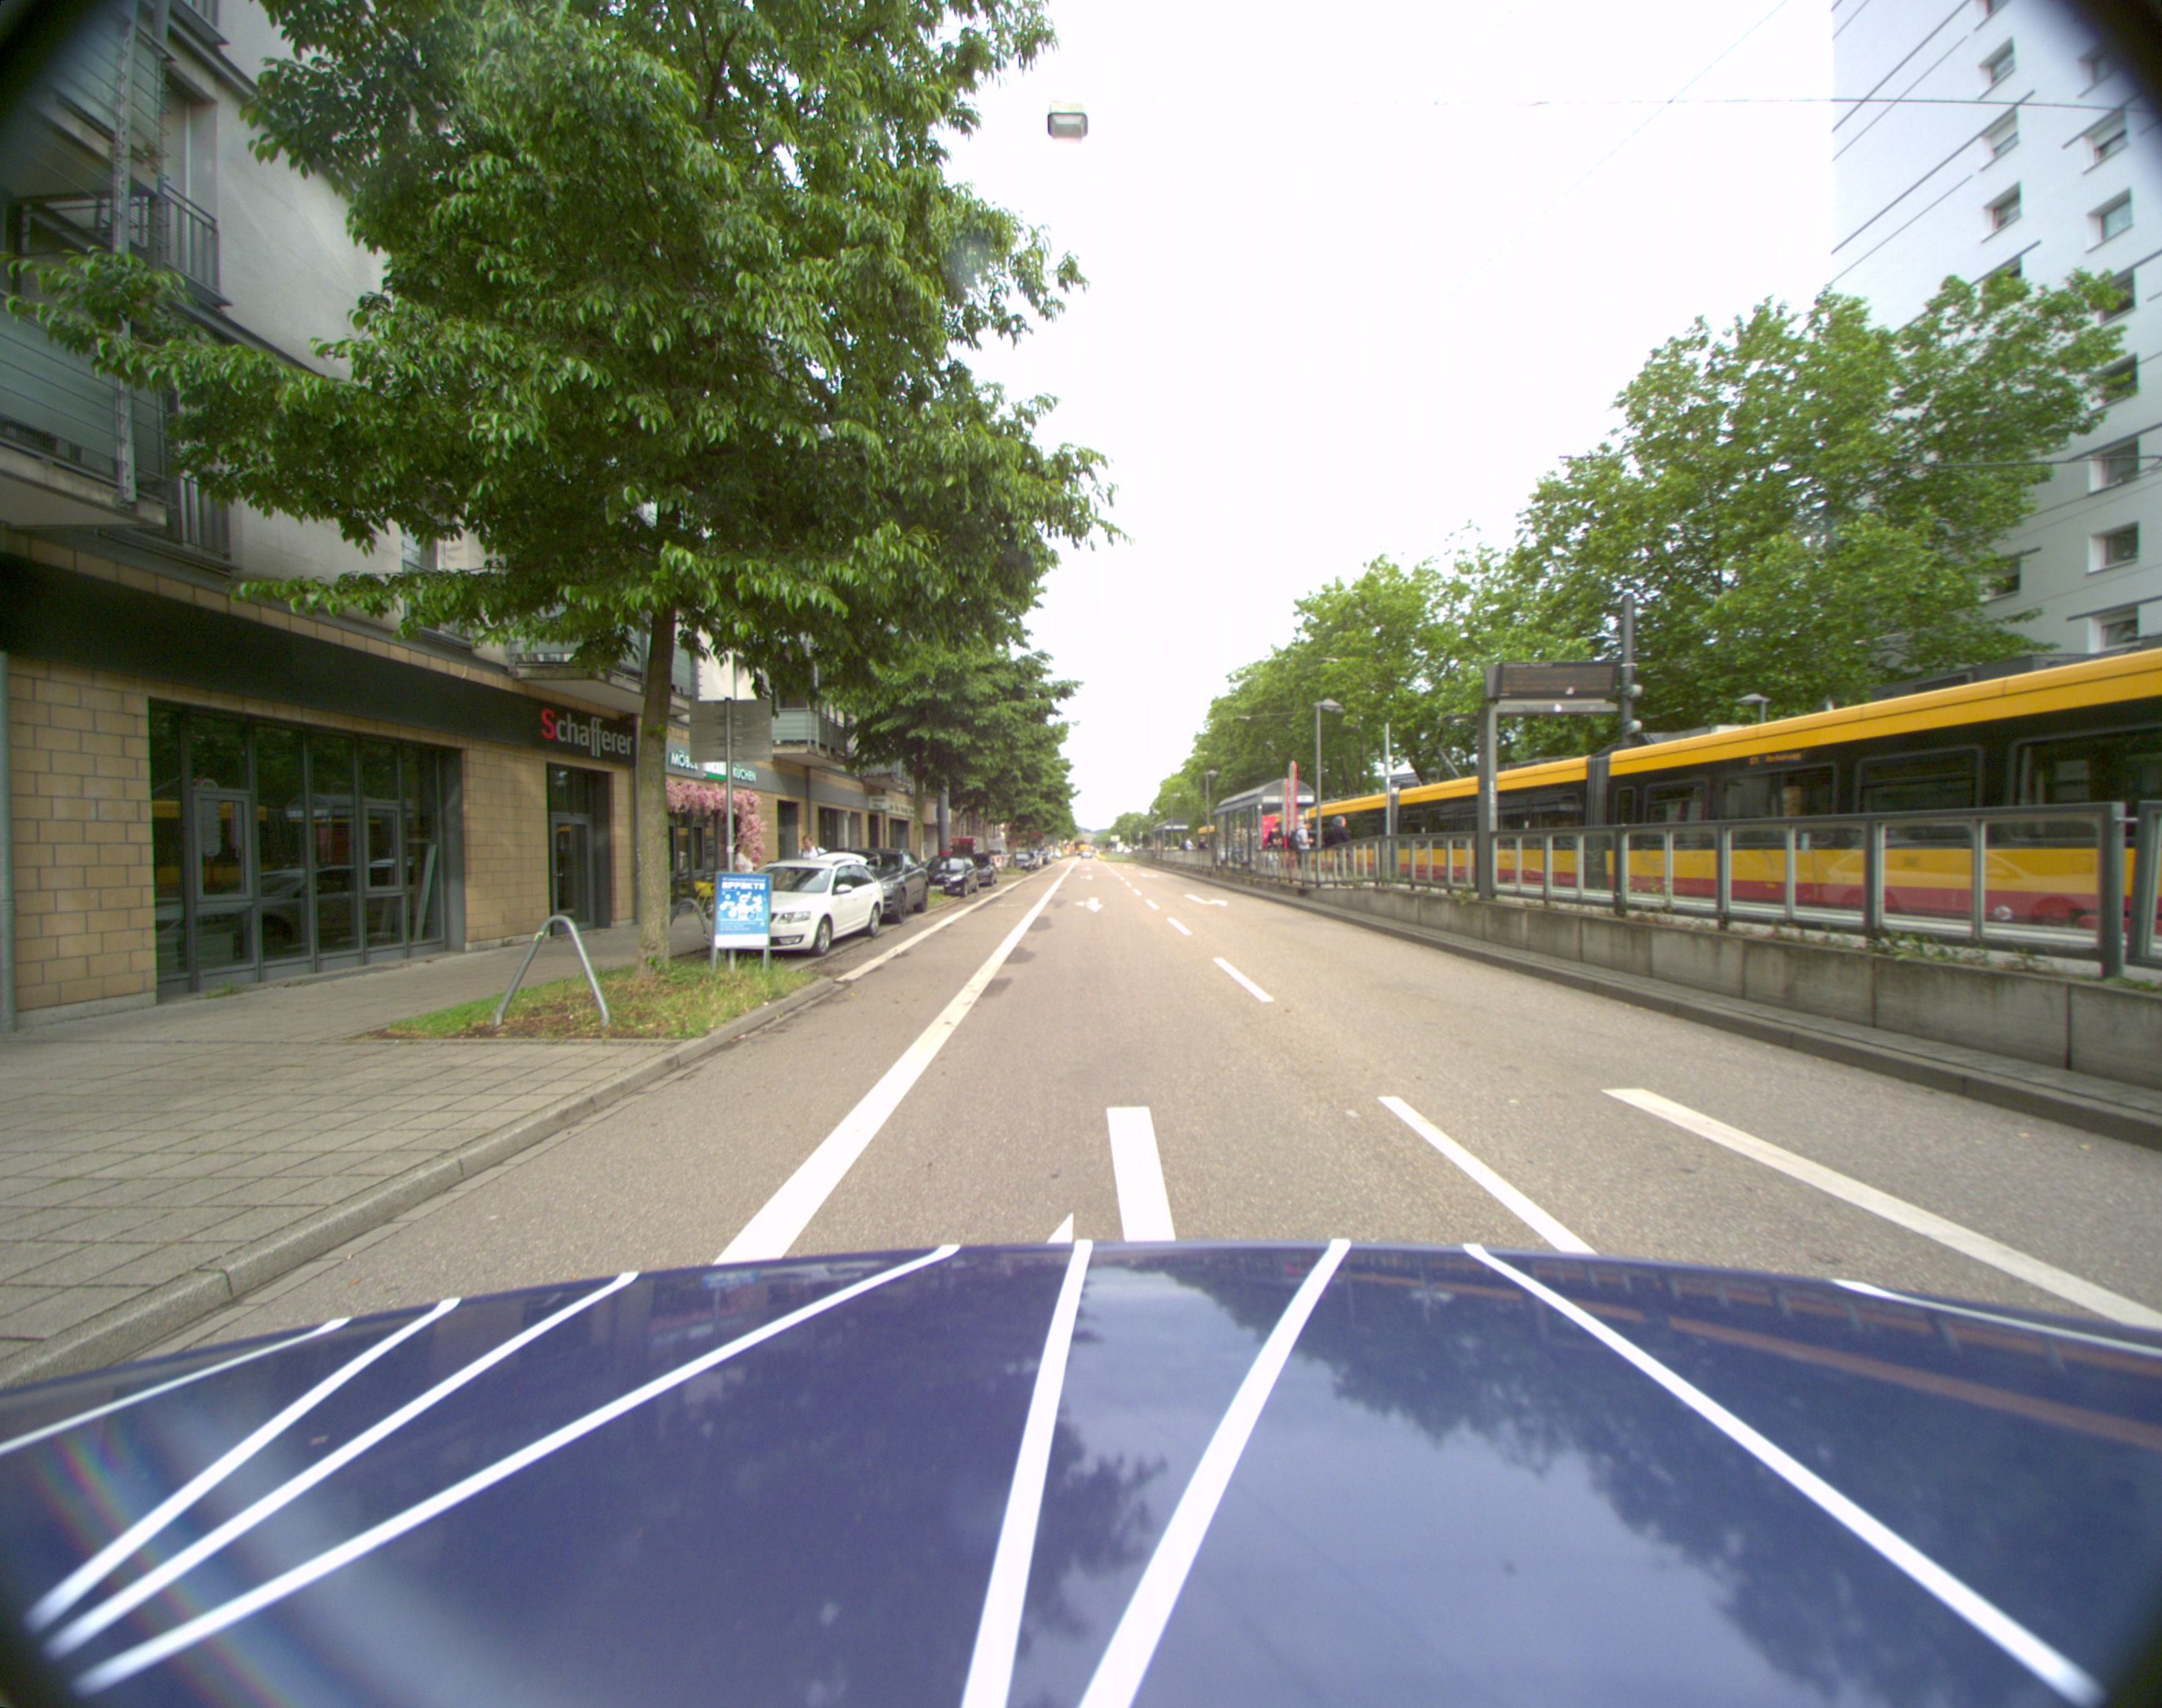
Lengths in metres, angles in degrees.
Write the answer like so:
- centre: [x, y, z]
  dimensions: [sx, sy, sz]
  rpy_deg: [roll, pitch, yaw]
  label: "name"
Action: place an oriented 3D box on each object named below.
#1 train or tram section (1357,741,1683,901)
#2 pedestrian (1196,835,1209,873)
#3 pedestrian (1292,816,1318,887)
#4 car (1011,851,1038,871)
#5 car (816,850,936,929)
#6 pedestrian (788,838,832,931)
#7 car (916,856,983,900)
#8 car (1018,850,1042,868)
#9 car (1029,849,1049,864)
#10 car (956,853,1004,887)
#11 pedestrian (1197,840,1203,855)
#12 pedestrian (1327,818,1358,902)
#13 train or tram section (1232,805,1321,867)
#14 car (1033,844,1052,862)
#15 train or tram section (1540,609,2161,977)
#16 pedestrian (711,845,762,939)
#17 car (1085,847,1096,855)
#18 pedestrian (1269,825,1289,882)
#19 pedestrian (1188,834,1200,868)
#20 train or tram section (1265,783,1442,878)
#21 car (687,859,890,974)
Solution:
- centre: [12.831, -0.865, 24.536]
  dimensions: [3.338, 3.731, 12.547]
  rpy_deg: [-2, 1, 1]
  label: "train or tram section"
- centre: [5.847, 0.006, 36.533]
  dimensions: [0.530, 1.794, 0.606]
  rpy_deg: [-2, 1, 14]
  label: "pedestrian"
- centre: [5.754, -0.059, 19.557]
  dimensions: [0.475, 1.794, 0.605]
  rpy_deg: [-2, 1, 5]
  label: "pedestrian"
- centre: [-4.163, 0.488, 56.296]
  dimensions: [1.612, 1.393, 3.667]
  rpy_deg: [2, 1, 1]
  label: "car"
- centre: [-4.716, 0.747, 18.013]
  dimensions: [1.738, 1.601, 3.798]
  rpy_deg: [2, 1, 1]
  label: "car"
- centre: [-5.556, 0.612, 15.605]
  dimensions: [0.656, 1.873, 0.599]
  rpy_deg: [-1, 1, 1]
  label: "pedestrian"
- centre: [-4.637, 0.800, 27.286]
  dimensions: [1.612, 1.369, 4.167]
  rpy_deg: [2, 1, 1]
  label: "car"
- centre: [-4.124, 0.374, 62.174]
  dimensions: [1.612, 1.393, 3.667]
  rpy_deg: [2, 1, 1]
  label: "car"
- centre: [-3.969, 0.220, 72.461]
  dimensions: [1.612, 1.393, 3.667]
  rpy_deg: [2, 1, 1]
  label: "car"
- centre: [-4.557, 0.691, 34.747]
  dimensions: [1.612, 1.393, 3.667]
  rpy_deg: [2, 1, 1]
  label: "car"
- centre: [15.873, -0.836, 101.297]
  dimensions: [0.719, 2.002, 0.756]
  rpy_deg: [-1, 1, 1]
  label: "pedestrian"
- centre: [5.705, 0.125, 16.589]
  dimensions: [0.521, 1.794, 0.605]
  rpy_deg: [-2, 1, 13]
  label: "pedestrian"
- centre: [13.212, -1.192, 52.597]
  dimensions: [3.338, 3.731, 11.042]
  rpy_deg: [-2, 1, 1]
  label: "train or tram section"
- centre: [-3.962, -0.130, 78.231]
  dimensions: [1.612, 1.674, 3.806]
  rpy_deg: [2, 1, 1]
  label: "car"
- centre: [12.672, -0.705, 10.677]
  dimensions: [3.338, 3.731, 15.202]
  rpy_deg: [-2, 1, 1]
  label: "train or tram section"
- centre: [-6.432, 0.690, 14.218]
  dimensions: [0.738, 1.707, 0.617]
  rpy_deg: [0, 1, -10]
  label: "pedestrian"
- centre: [1.615, -0.514, 128.089]
  dimensions: [1.716, 1.379, 4.099]
  rpy_deg: [-2, 1, 1]
  label: "car"
- centre: [6.312, -0.022, 24.209]
  dimensions: [0.474, 1.794, 0.606]
  rpy_deg: [-2, 1, 26]
  label: "pedestrian"
- centre: [6.140, -0.171, 41.350]
  dimensions: [0.530, 1.794, 0.606]
  rpy_deg: [-2, 1, 14]
  label: "pedestrian"
- centre: [13.048, -1.034, 38.951]
  dimensions: [3.338, 3.731, 16.247]
  rpy_deg: [-2, 1, 1]
  label: "train or tram section"
- centre: [-4.720, 0.906, 13.011]
  dimensions: [1.738, 1.512, 4.308]
  rpy_deg: [2, 1, 1]
  label: "car"
